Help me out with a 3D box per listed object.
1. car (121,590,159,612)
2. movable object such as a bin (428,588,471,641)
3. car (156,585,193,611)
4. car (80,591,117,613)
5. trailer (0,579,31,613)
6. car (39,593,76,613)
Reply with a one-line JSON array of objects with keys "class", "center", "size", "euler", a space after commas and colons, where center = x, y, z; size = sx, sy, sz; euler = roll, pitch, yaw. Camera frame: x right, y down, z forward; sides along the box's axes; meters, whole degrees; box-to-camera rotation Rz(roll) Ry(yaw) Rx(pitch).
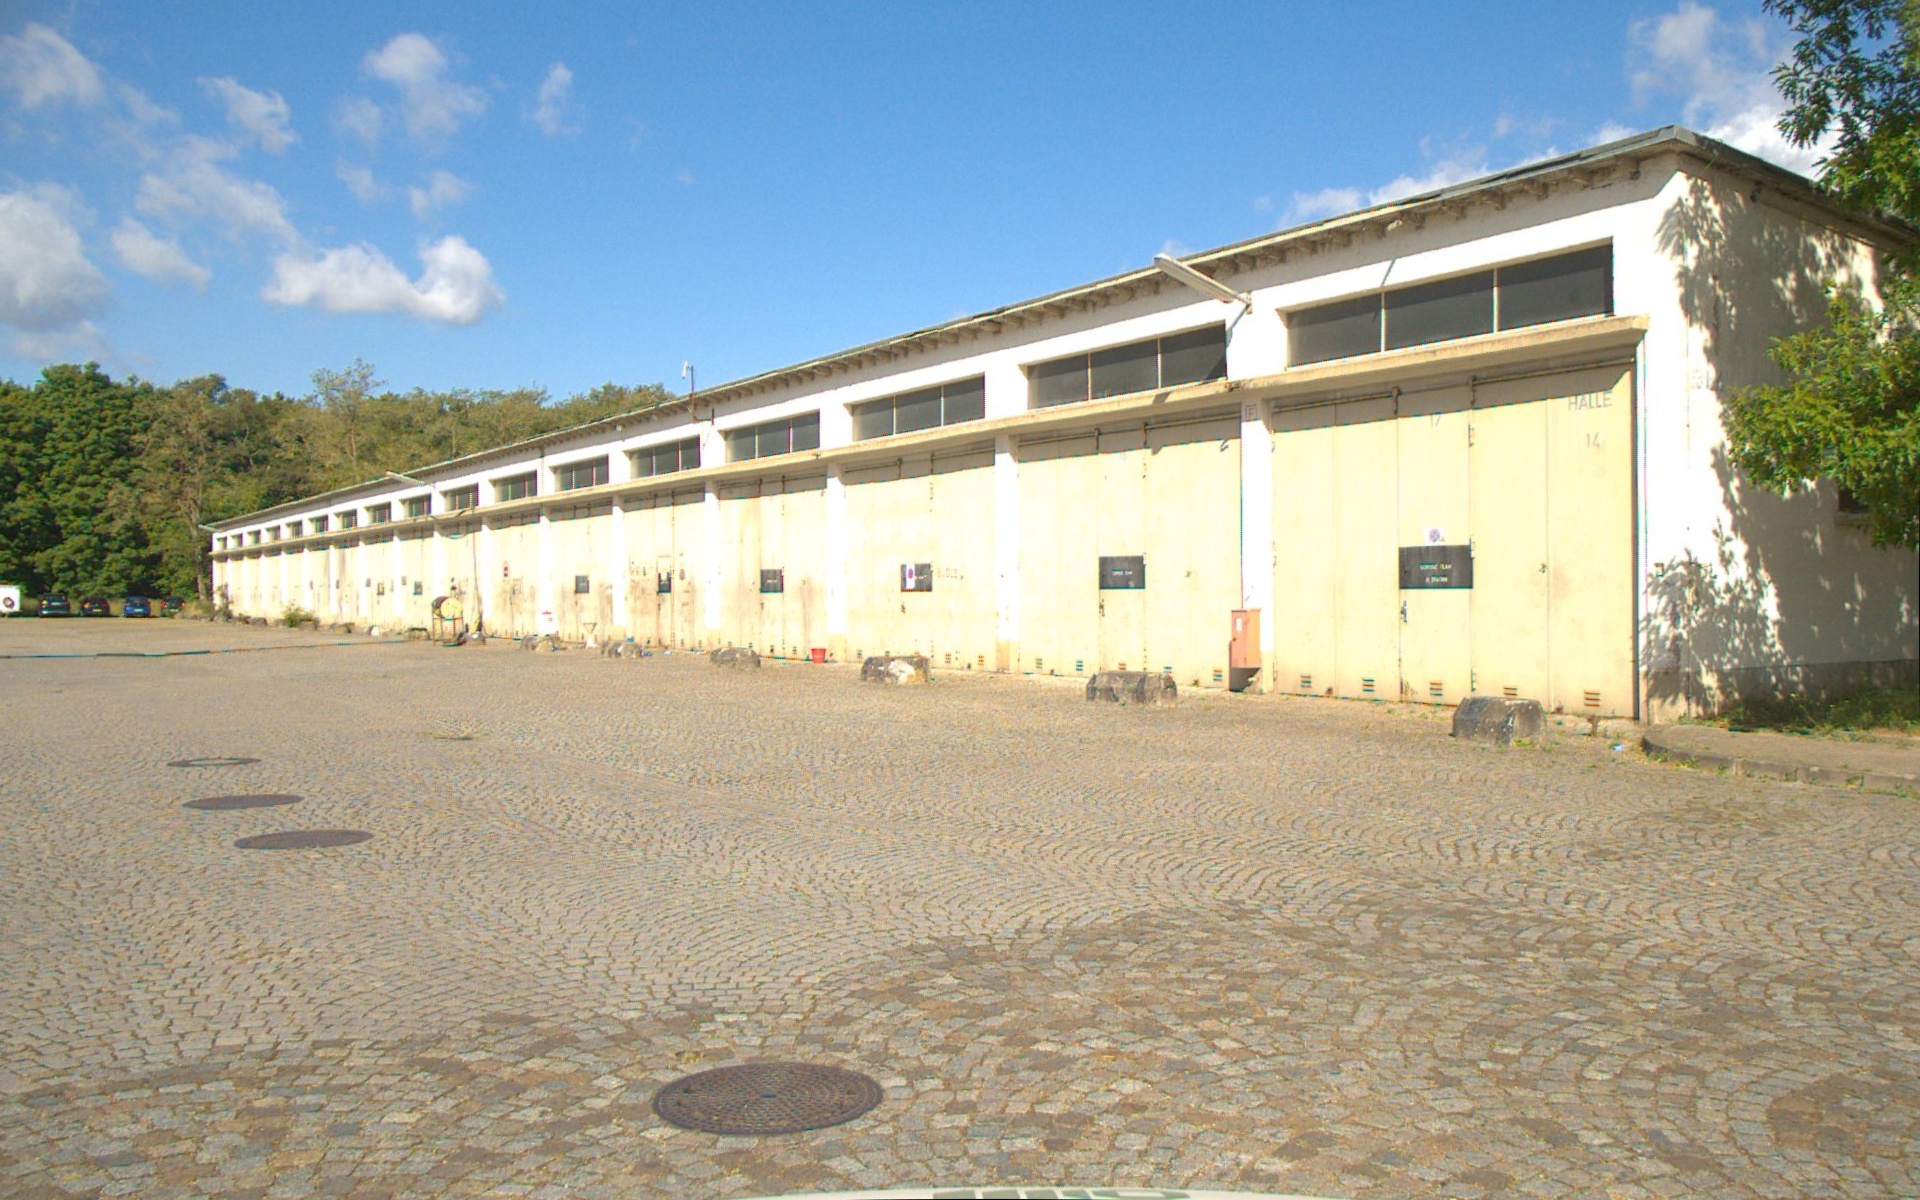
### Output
[{"class": "car", "center": [-57.330, 0.033, 115.592], "size": [1.975, 1.491, 3.956], "euler": [-1, 1, -32]}, {"class": "movable object such as a bin", "center": [-13.963, 0.398, 45.253], "size": [0.867, 1.426, 1.089], "euler": [-1, 0, -33]}, {"class": "car", "center": [-56.008, -0.128, 117.905], "size": [1.975, 1.803, 3.956], "euler": [-1, 1, -32]}, {"class": "car", "center": [-59.495, 0.109, 114.212], "size": [1.975, 1.449, 3.956], "euler": [-1, 1, -32]}, {"class": "trailer", "center": [-64.275, -0.278, 112.148], "size": [1.975, 2.200, 4.382], "euler": [-1, 1, -32]}, {"class": "car", "center": [-61.407, 0.172, 112.542], "size": [1.975, 1.280, 3.956], "euler": [-1, 1, -32]}]
